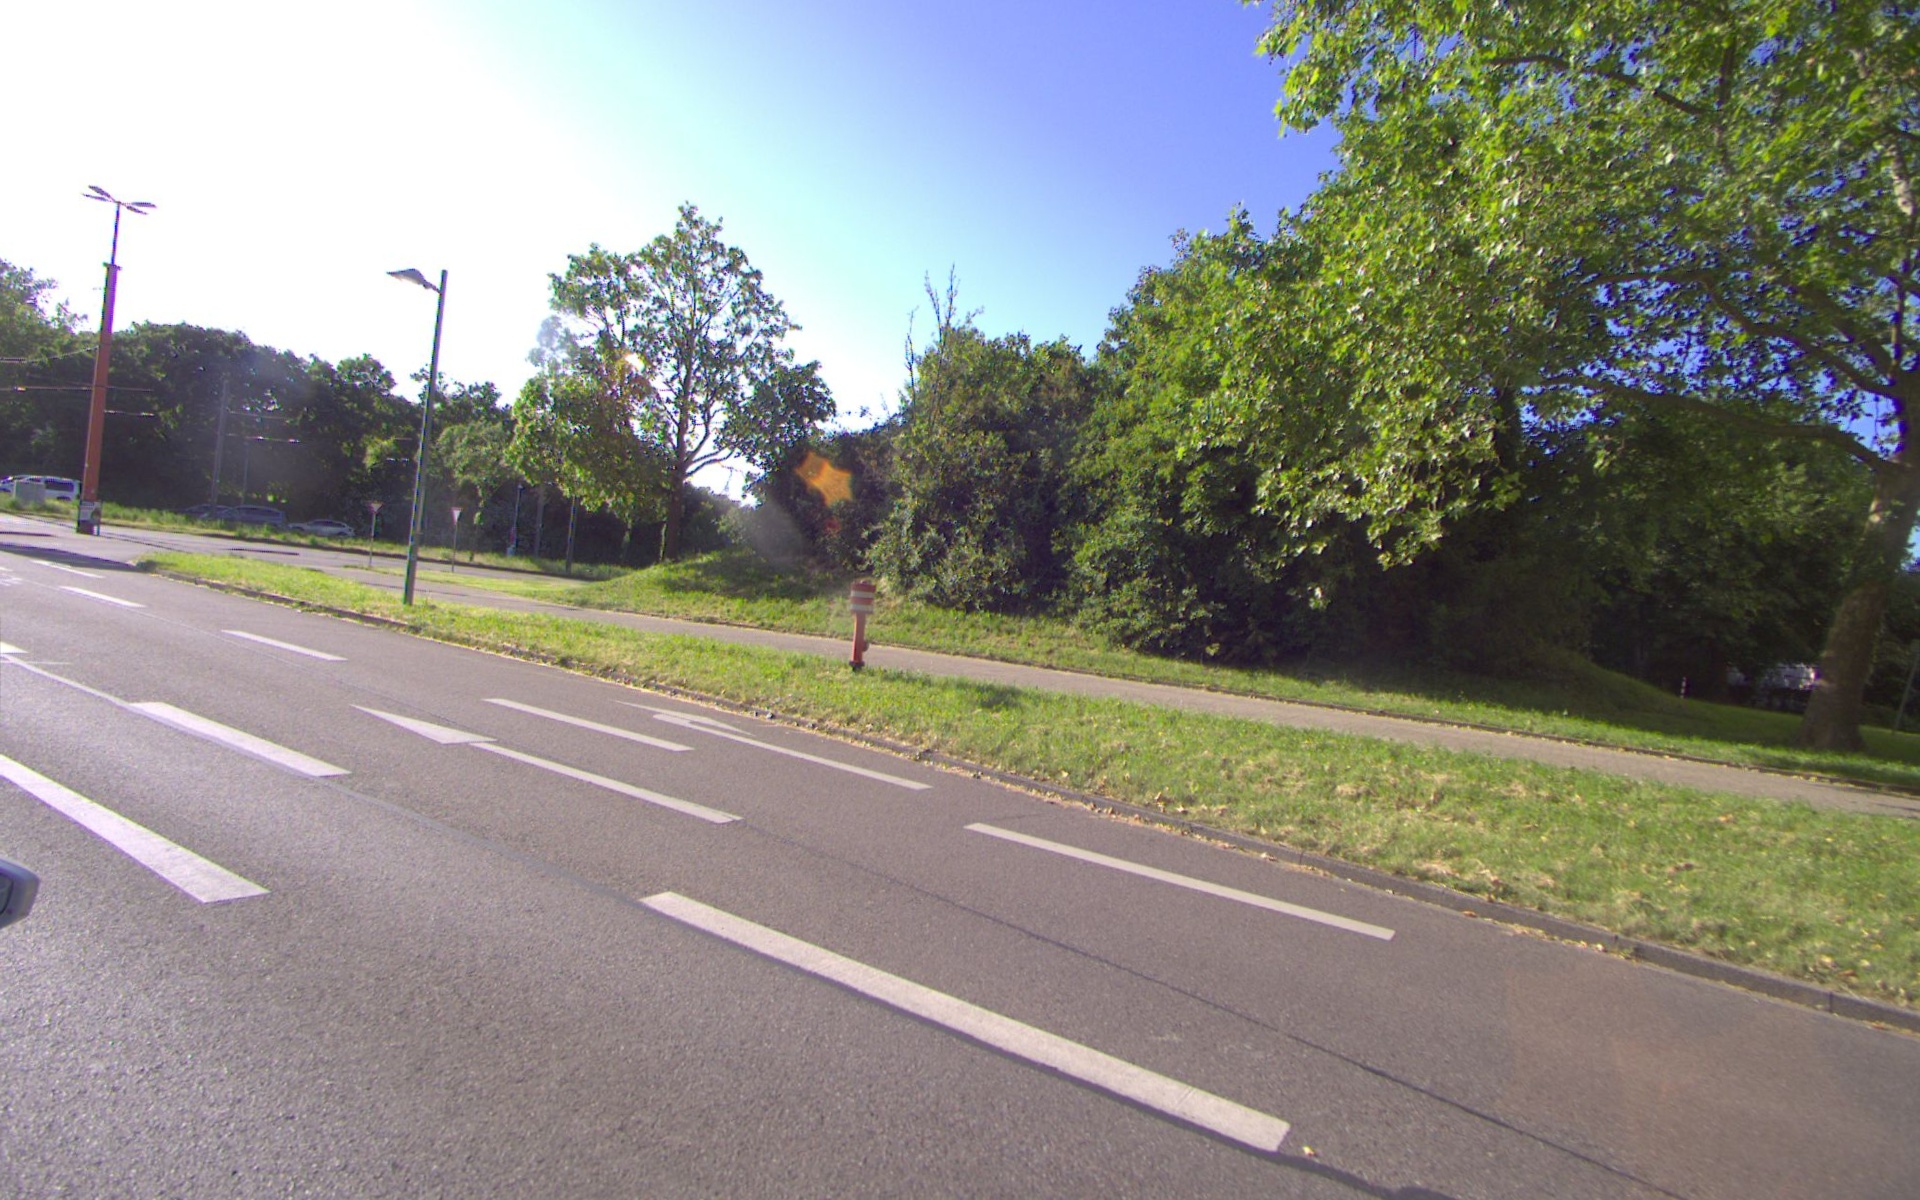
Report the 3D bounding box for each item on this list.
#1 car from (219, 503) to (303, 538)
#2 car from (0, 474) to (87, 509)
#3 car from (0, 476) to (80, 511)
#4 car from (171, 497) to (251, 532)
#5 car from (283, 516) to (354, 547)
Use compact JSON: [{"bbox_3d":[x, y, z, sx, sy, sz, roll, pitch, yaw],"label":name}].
[{"bbox_3d":[-45.222,-5.109,65.202,4.325,1.577,1.855,8,-1,-34],"label":"car"},{"bbox_3d":[-54.400,-6.430,59.413,3.962,1.353,1.714,8,-1,-33],"label":"car"},{"bbox_3d":[-56.765,-6.535,61.625,3.962,1.493,1.773,8,-1,-34],"label":"car"},{"bbox_3d":[-49.300,-5.615,66.318,3.961,1.579,1.883,8,-1,-33],"label":"car"},{"bbox_3d":[-44.218,-4.713,69.451,3.961,1.513,1.845,8,-1,-32],"label":"car"}]
